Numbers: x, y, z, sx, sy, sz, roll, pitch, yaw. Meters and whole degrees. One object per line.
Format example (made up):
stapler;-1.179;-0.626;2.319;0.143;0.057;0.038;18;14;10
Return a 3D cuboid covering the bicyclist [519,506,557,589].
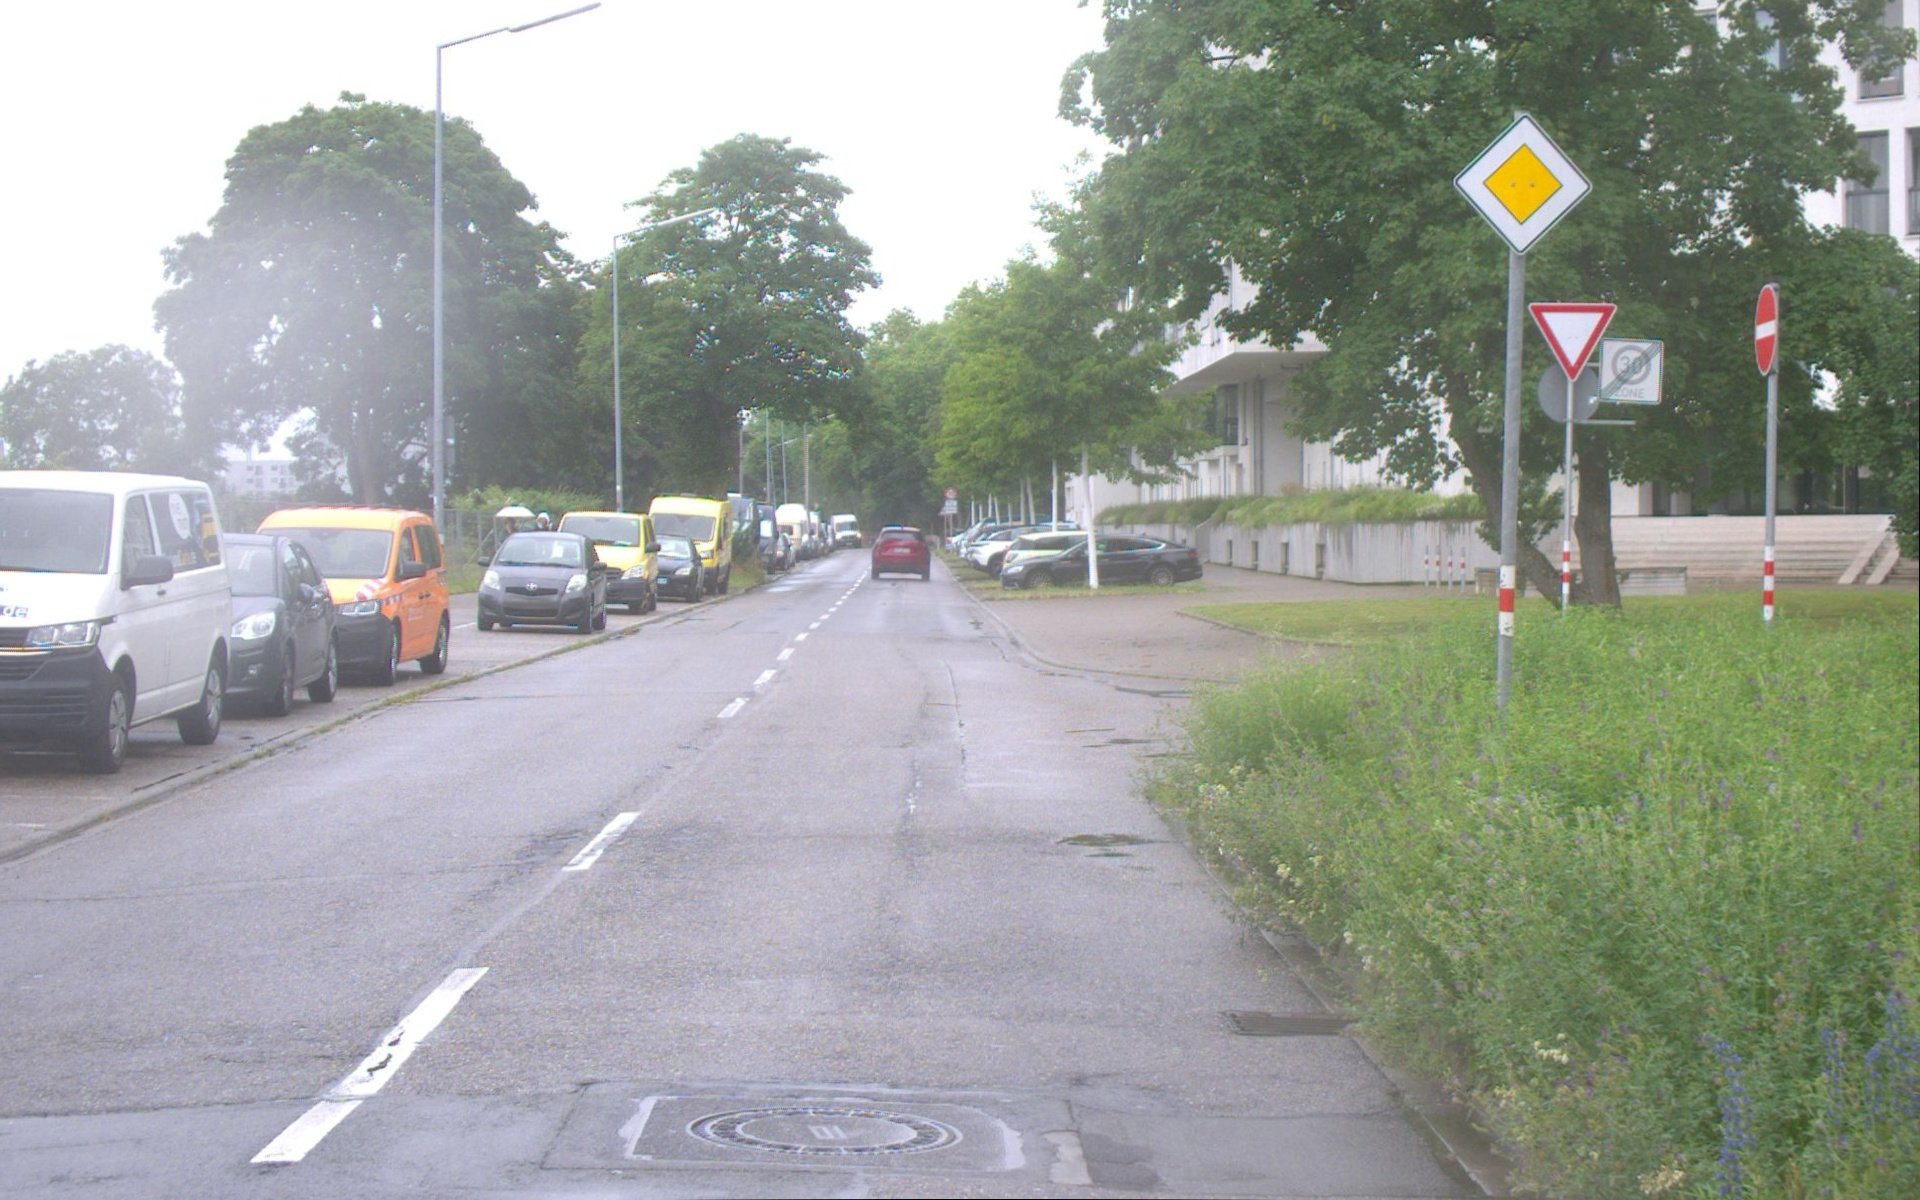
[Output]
bicyclist;-9.335;-1.176;76.090;0.698;1.823;1.008;0;1;0

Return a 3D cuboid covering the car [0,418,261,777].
car;-6.398;-0.092;24.118;1.942;2.228;5.558;0;2;-1

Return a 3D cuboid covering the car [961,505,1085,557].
car;2.350;-2.609;129.477;4.475;1.681;1.936;-3;2;-2

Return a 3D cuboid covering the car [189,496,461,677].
car;-6.486;-0.182;35.563;1.940;1.761;4.331;0;1;1

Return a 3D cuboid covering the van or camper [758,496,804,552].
van or camper;-9.180;-3.907;176.588;1.993;2.752;7.899;1;1;-1

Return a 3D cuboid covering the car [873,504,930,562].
car;-1.830;-2.143;108.659;1.756;1.700;4.001;0;3;0

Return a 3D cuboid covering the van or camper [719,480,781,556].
van or camper;-7.910;-3.073;129.883;2.094;2.706;7.575;2;1;-2

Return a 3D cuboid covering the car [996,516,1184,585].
car;3.194;-1.233;84.897;4.487;1.476;1.692;-3;1;-1

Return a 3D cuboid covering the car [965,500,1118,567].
car;2.545;-2.099;107.766;4.539;1.679;1.886;-5;1;-3

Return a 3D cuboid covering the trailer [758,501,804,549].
trailer;-8.511;-3.596;163.995;2.058;2.210;5.795;1;1;-2

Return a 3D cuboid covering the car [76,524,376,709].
car;-6.384;0.080;30.405;1.683;1.496;4.892;0;1;-1

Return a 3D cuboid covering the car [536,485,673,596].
car;-6.703;-1.141;65.387;2.017;1.949;6.066;2;1;-1

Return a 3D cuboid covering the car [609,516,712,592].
car;-6.721;-1.056;77.691;1.993;1.588;5.018;2;1;-2

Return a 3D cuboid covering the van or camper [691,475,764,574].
van or camper;-7.662;-2.479;113.744;2.094;3.083;6.425;2;1;-2

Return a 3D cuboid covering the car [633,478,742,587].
car;-7.072;-1.771;89.964;2.192;2.685;6.081;2;1;1

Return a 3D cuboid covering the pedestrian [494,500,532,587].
pedestrian;-10.387;-1.313;79.964;0.742;2.007;0.980;1;1;0

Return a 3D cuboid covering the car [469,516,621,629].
car;-6.310;-0.456;52.622;1.804;1.556;4.033;2;2;-1
